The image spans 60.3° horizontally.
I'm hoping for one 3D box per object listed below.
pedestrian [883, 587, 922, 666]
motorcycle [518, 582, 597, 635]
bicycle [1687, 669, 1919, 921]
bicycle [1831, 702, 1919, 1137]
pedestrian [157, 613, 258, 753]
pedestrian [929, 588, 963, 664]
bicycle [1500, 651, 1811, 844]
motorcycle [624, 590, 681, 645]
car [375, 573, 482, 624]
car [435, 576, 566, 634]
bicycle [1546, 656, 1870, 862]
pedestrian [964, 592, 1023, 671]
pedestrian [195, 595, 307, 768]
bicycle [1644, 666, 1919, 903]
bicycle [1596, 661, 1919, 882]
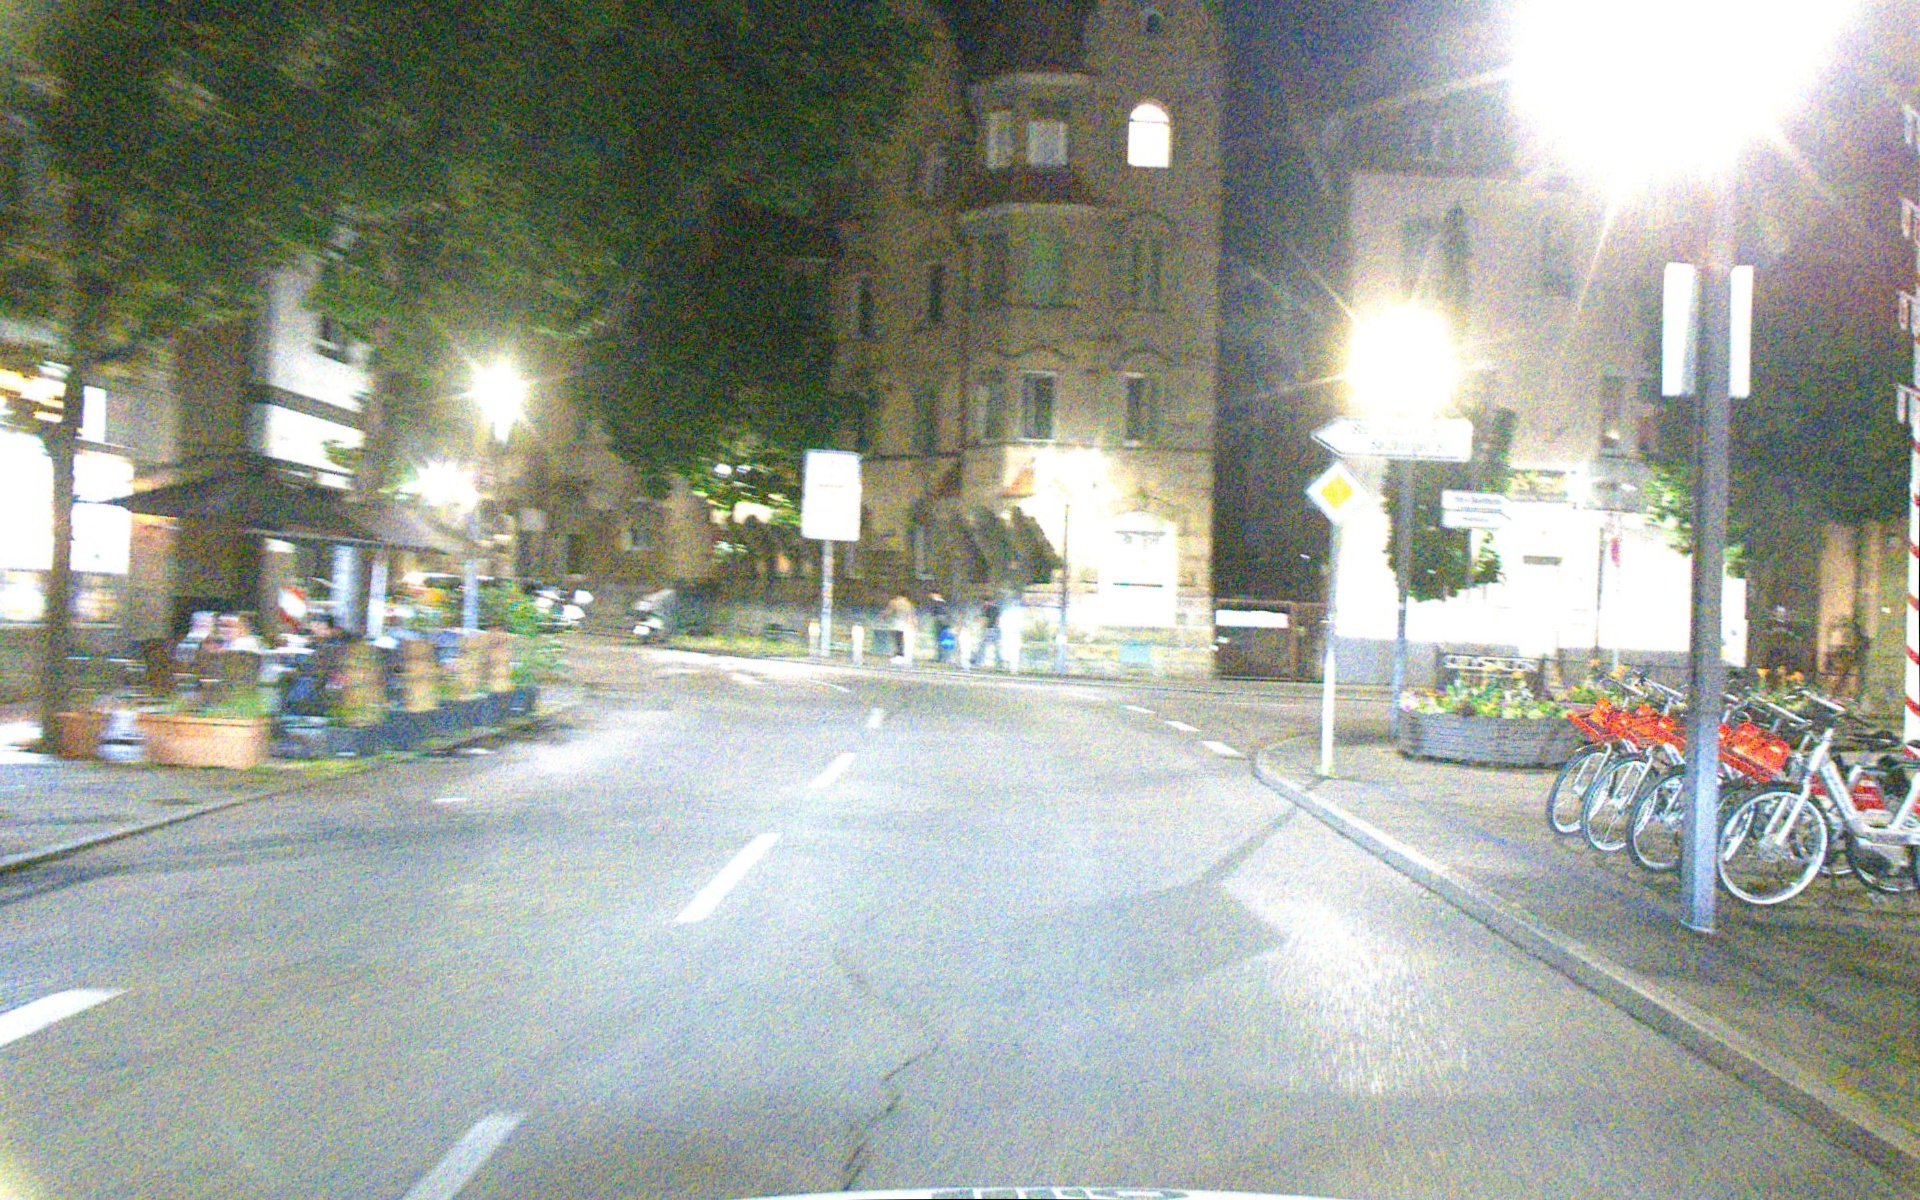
[{"bbox_3d":[-1.293,0.588,37.234,0.504,1.739,0.694,2,0,-43],"label":"pedestrian"},{"bbox_3d":[-11.348,0.232,46.668,0.906,1.430,2.051,2,1,36],"label":"motorcycle"},{"bbox_3d":[4.698,0.982,8.380,1.735,1.171,0.582,2,0,4],"label":"bicycle"},{"bbox_3d":[3.537,0.918,4.610,1.827,1.154,0.725,2,0,-3],"label":"bicycle"},{"bbox_3d":[-6.606,0.716,14.543,0.563,1.184,0.677,2,0,-5],"label":"pedestrian"},{"bbox_3d":[-0.329,0.604,38.455,0.474,1.739,0.562,2,0,-44],"label":"pedestrian"},{"bbox_3d":[4.664,0.977,11.167,1.746,1.171,0.759,2,0,-2],"label":"bicycle"},{"bbox_3d":[-7.927,0.446,42.710,0.744,1.377,1.946,2,0,10],"label":"motorcycle"},{"bbox_3d":[-16.810,-0.060,52.242,1.727,1.479,3.939,2,0,-42],"label":"car"},{"bbox_3d":[-13.490,0.121,48.453,4.393,1.527,1.725,2,0,45],"label":"car"},{"bbox_3d":[4.678,0.984,10.404,1.736,1.171,0.614,2,0,-2],"label":"bicycle"},{"bbox_3d":[0.725,0.685,35.850,0.945,1.659,0.808,2,-1,30],"label":"pedestrian"},{"bbox_3d":[-5.970,0.675,13.945,0.662,1.402,0.576,2,0,-5],"label":"pedestrian"},{"bbox_3d":[4.734,0.994,9.006,1.735,1.171,0.582,2,0,4],"label":"bicycle"},{"bbox_3d":[4.716,0.988,9.675,1.736,1.171,0.582,2,0,-2],"label":"bicycle"}]
